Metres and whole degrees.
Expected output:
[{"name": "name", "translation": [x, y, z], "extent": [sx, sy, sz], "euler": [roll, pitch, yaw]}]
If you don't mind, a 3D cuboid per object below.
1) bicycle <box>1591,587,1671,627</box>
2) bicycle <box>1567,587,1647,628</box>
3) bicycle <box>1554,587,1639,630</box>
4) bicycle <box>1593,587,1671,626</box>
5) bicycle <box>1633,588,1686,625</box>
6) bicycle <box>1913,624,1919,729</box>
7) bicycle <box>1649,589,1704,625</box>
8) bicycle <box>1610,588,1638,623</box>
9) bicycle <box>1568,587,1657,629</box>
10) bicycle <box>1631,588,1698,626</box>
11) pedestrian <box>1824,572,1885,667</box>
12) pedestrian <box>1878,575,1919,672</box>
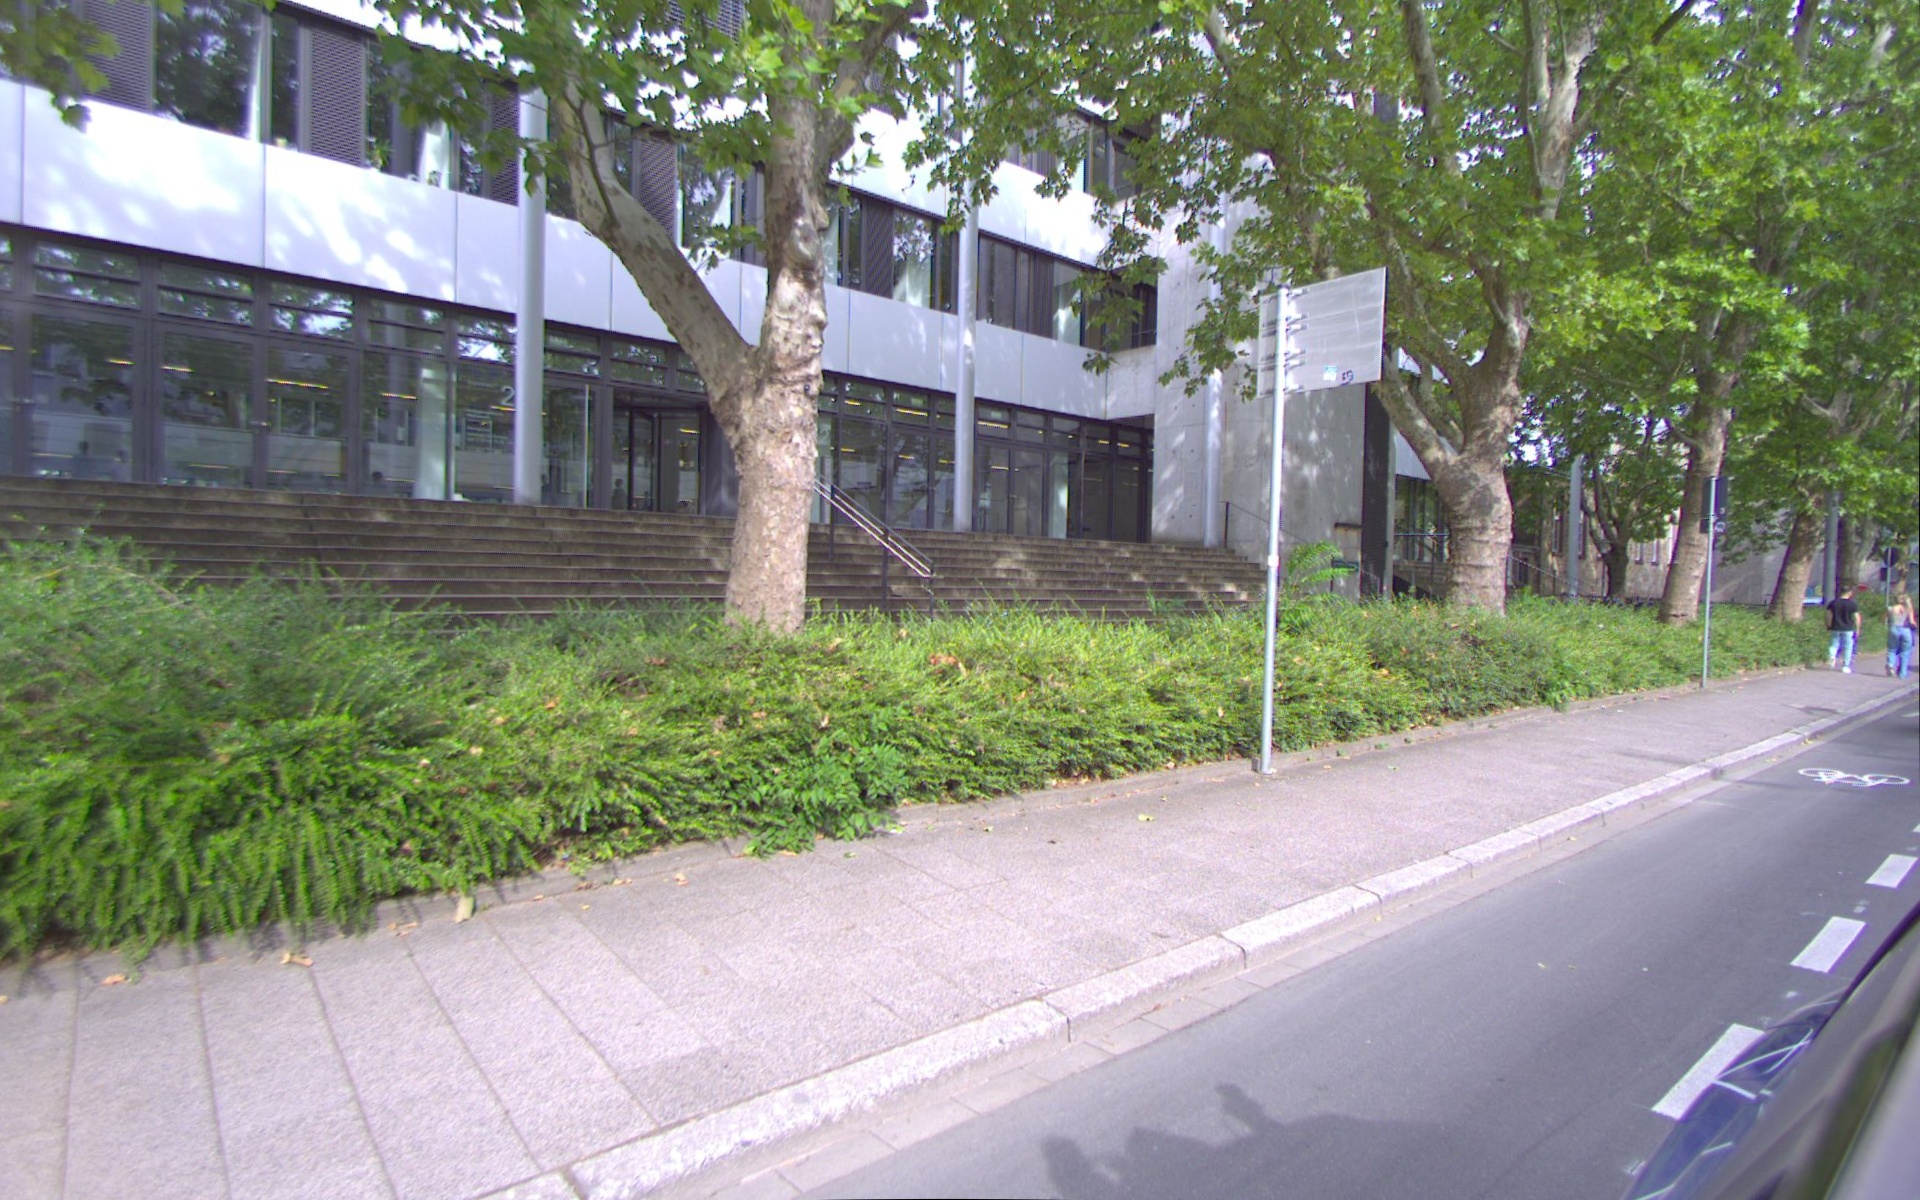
[{"name": "bicycle", "translation": [20.787, 0.204, 31.398], "extent": [0.661, 1.131, 1.919], "euler": [1, 2, -40]}, {"name": "bicycle", "translation": [19.803, 0.205, 31.011], "extent": [0.661, 1.131, 1.919], "euler": [1, 2, -40]}, {"name": "bicycle", "translation": [18.307, 0.229, 29.153], "extent": [0.661, 1.131, 1.919], "euler": [1, 2, -40]}, {"name": "bicycle", "translation": [21.428, 0.192, 32.299], "extent": [0.661, 1.131, 1.919], "euler": [1, 2, -40]}, {"name": "bicycle", "translation": [22.961, 0.206, 33.245], "extent": [1.374, 1.131, 0.505], "euler": [3, 2, 36]}, {"name": "bicycle", "translation": [11.833, 0.876, 11.760], "extent": [1.913, 1.183, 0.763], "euler": [0, 0, -36]}, {"name": "bicycle", "translation": [23.624, 0.220, 33.373], "extent": [1.378, 1.131, 0.461], "euler": [4, 2, 43]}, {"name": "bicycle", "translation": [22.061, 0.179, 33.628], "extent": [0.491, 1.131, 1.415], "euler": [3, 2, 44]}, {"name": "bicycle", "translation": [19.319, 0.221, 29.989], "extent": [0.661, 1.131, 2.084], "euler": [1, 2, -40]}, {"name": "bicycle", "translation": [22.716, 0.211, 32.650], "extent": [1.686, 1.131, 0.616], "euler": [3, 2, 32]}, {"name": "pedestrian", "translation": [17.944, 0.362, 20.307], "extent": [1.016, 1.821, 0.716], "euler": [0, 3, -42]}, {"name": "pedestrian", "translation": [18.453, 0.437, 19.666], "extent": [1.016, 1.805, 0.712], "euler": [0, 3, -42]}]
